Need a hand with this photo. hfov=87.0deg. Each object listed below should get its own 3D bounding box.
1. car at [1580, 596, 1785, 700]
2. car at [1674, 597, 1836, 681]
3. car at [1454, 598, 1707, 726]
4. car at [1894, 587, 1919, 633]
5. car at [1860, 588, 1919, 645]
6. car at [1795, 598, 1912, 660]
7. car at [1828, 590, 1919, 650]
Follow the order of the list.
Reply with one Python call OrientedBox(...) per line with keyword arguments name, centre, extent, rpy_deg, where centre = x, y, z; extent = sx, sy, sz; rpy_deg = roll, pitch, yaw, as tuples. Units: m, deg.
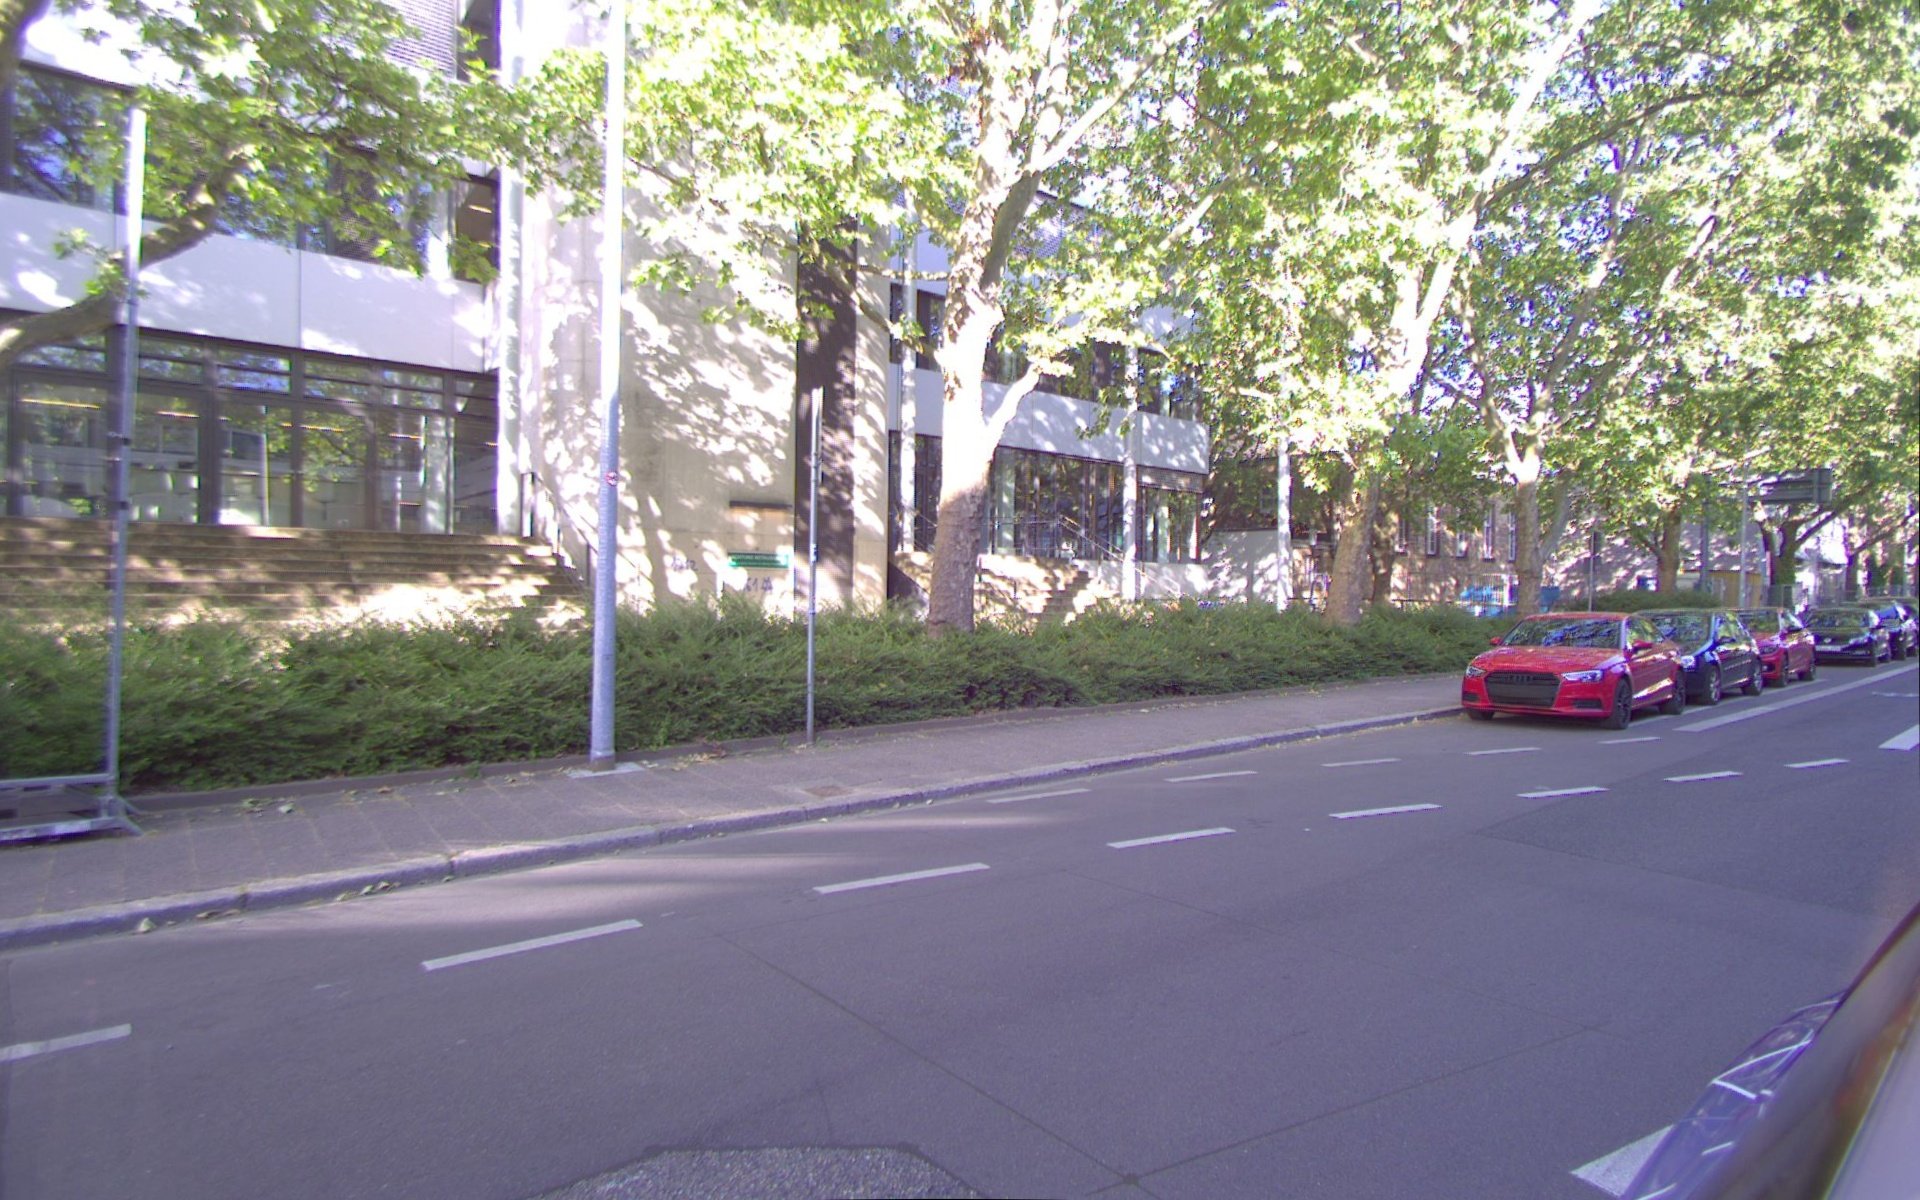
OrientedBox(name="car", centre=(11.899, 0.682, 16.590), extent=(3.929, 1.475, 1.812), rpy_deg=(0, 1, -40))
OrientedBox(name="car", centre=(15.692, 0.683, 19.912), extent=(3.930, 1.456, 1.789), rpy_deg=(0, 1, -41))
OrientedBox(name="car", centre=(8.357, 0.706, 13.491), extent=(4.101, 1.443, 1.773), rpy_deg=(0, -1, -42))
OrientedBox(name="car", centre=(35.735, 0.368, 37.073), extent=(4.004, 1.638, 1.797), rpy_deg=(0, 1, -41))
OrientedBox(name="car", centre=(31.077, 0.487, 33.052), extent=(4.188, 1.747, 1.997), rpy_deg=(-1, 0, -41))
OrientedBox(name="car", centre=(22.978, 0.685, 25.994), extent=(3.930, 1.456, 1.744), rpy_deg=(0, 1, -41))
OrientedBox(name="car", centre=(26.642, 0.530, 29.191), extent=(4.158, 1.601, 1.847), rpy_deg=(0, 1, -41))
